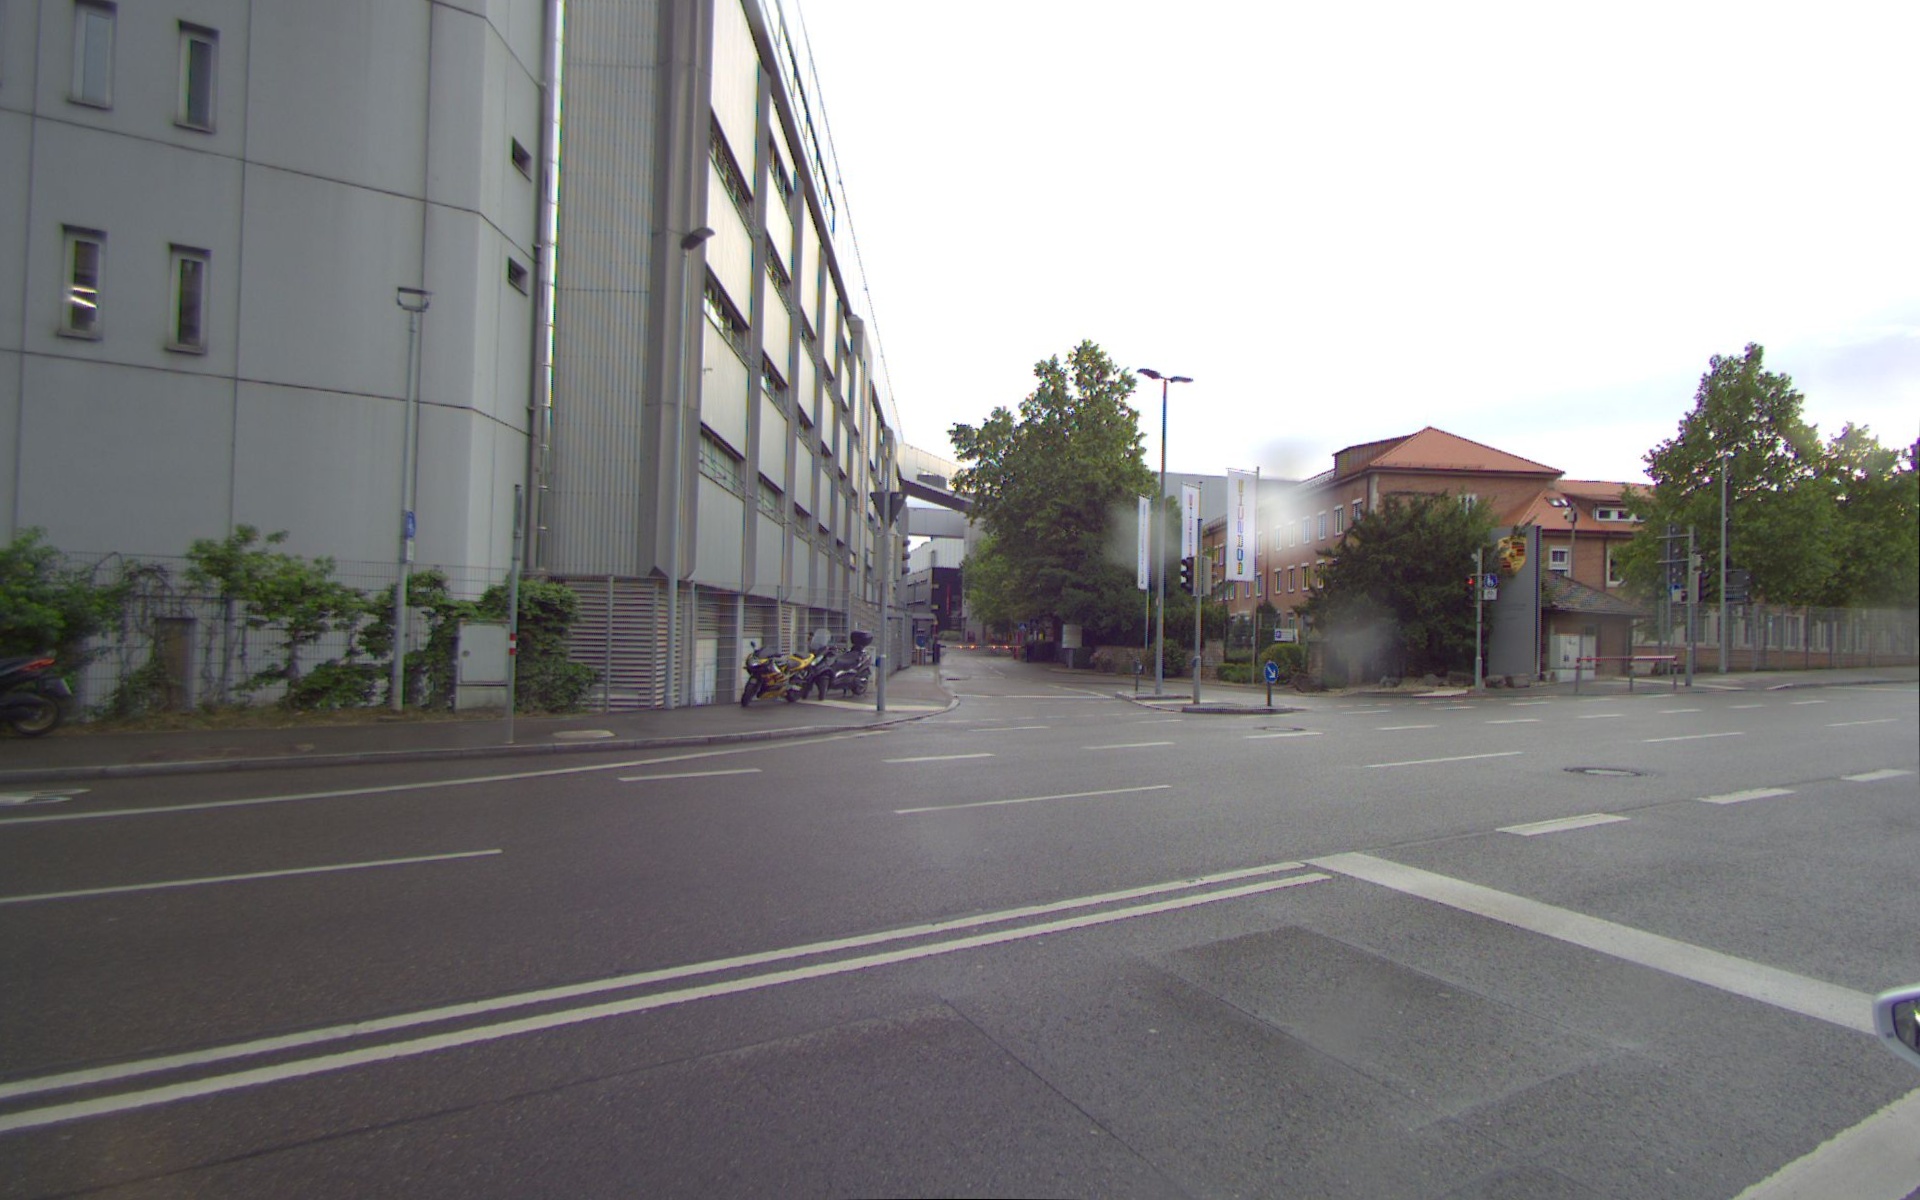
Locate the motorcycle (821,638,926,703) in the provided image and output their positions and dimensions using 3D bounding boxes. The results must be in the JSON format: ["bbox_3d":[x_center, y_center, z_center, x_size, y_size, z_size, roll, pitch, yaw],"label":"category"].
[{"bbox_3d":[-1.879,1.535,22.374,1.008,1.355,2.772,-1,-2,27],"label":"motorcycle"}]

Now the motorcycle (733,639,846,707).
[{"bbox_3d":[-3.332,1.409,19.939,0.759,1.234,2.504,0,-2,30],"label":"motorcycle"}]

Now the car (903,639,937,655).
[{"bbox_3d":[-5.222,6.125,130.998,3.914,1.848,1.955,3,0,-31],"label":"car"}]

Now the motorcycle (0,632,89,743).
[{"bbox_3d":[-11.601,1.002,11.642,2.133,1.263,0.780,2,-2,-32],"label":"motorcycle"}]
